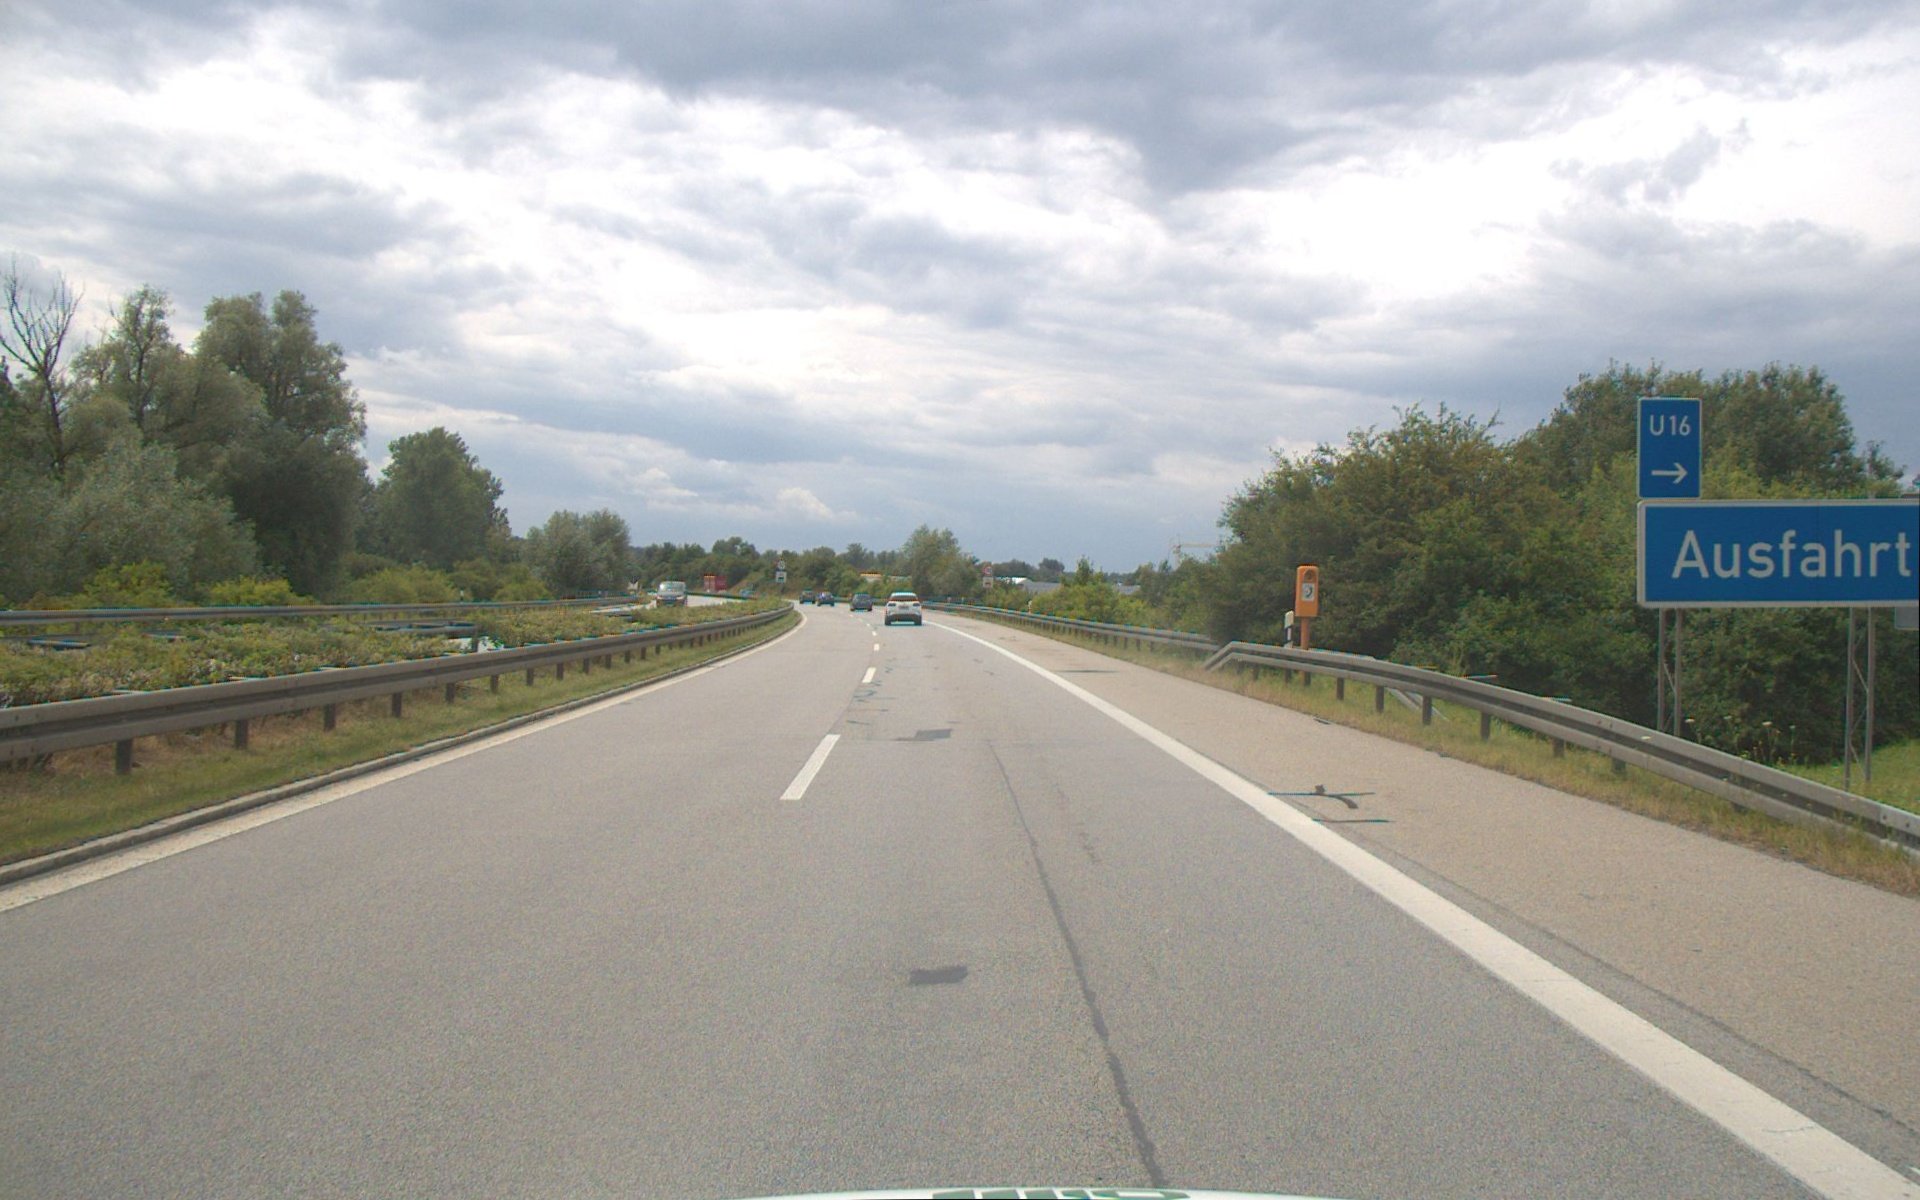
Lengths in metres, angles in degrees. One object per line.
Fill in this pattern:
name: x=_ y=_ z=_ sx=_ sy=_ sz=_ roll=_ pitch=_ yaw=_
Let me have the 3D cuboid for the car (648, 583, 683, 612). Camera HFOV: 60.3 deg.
car: x=-20.123 y=-0.162 z=113.256 sx=1.666 sy=1.917 sz=5.225 roll=1 pitch=0 yaw=-3

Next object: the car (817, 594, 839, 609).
car: x=-14.933 y=0.179 z=186.817 sx=1.868 sy=1.668 sz=4.767 roll=1 pitch=0 yaw=-11

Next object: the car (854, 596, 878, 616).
car: x=-8.146 y=0.472 z=143.504 sx=1.856 sy=1.668 sz=4.616 roll=1 pitch=0 yaw=-5

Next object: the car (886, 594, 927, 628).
car: x=-2.821 y=0.555 z=85.889 sx=1.865 sy=1.668 sz=4.391 roll=1 pitch=0 yaw=-5

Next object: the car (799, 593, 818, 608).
car: x=-19.605 y=0.042 z=214.506 sx=1.795 sy=1.825 sz=4.397 roll=1 pitch=0 yaw=-14
